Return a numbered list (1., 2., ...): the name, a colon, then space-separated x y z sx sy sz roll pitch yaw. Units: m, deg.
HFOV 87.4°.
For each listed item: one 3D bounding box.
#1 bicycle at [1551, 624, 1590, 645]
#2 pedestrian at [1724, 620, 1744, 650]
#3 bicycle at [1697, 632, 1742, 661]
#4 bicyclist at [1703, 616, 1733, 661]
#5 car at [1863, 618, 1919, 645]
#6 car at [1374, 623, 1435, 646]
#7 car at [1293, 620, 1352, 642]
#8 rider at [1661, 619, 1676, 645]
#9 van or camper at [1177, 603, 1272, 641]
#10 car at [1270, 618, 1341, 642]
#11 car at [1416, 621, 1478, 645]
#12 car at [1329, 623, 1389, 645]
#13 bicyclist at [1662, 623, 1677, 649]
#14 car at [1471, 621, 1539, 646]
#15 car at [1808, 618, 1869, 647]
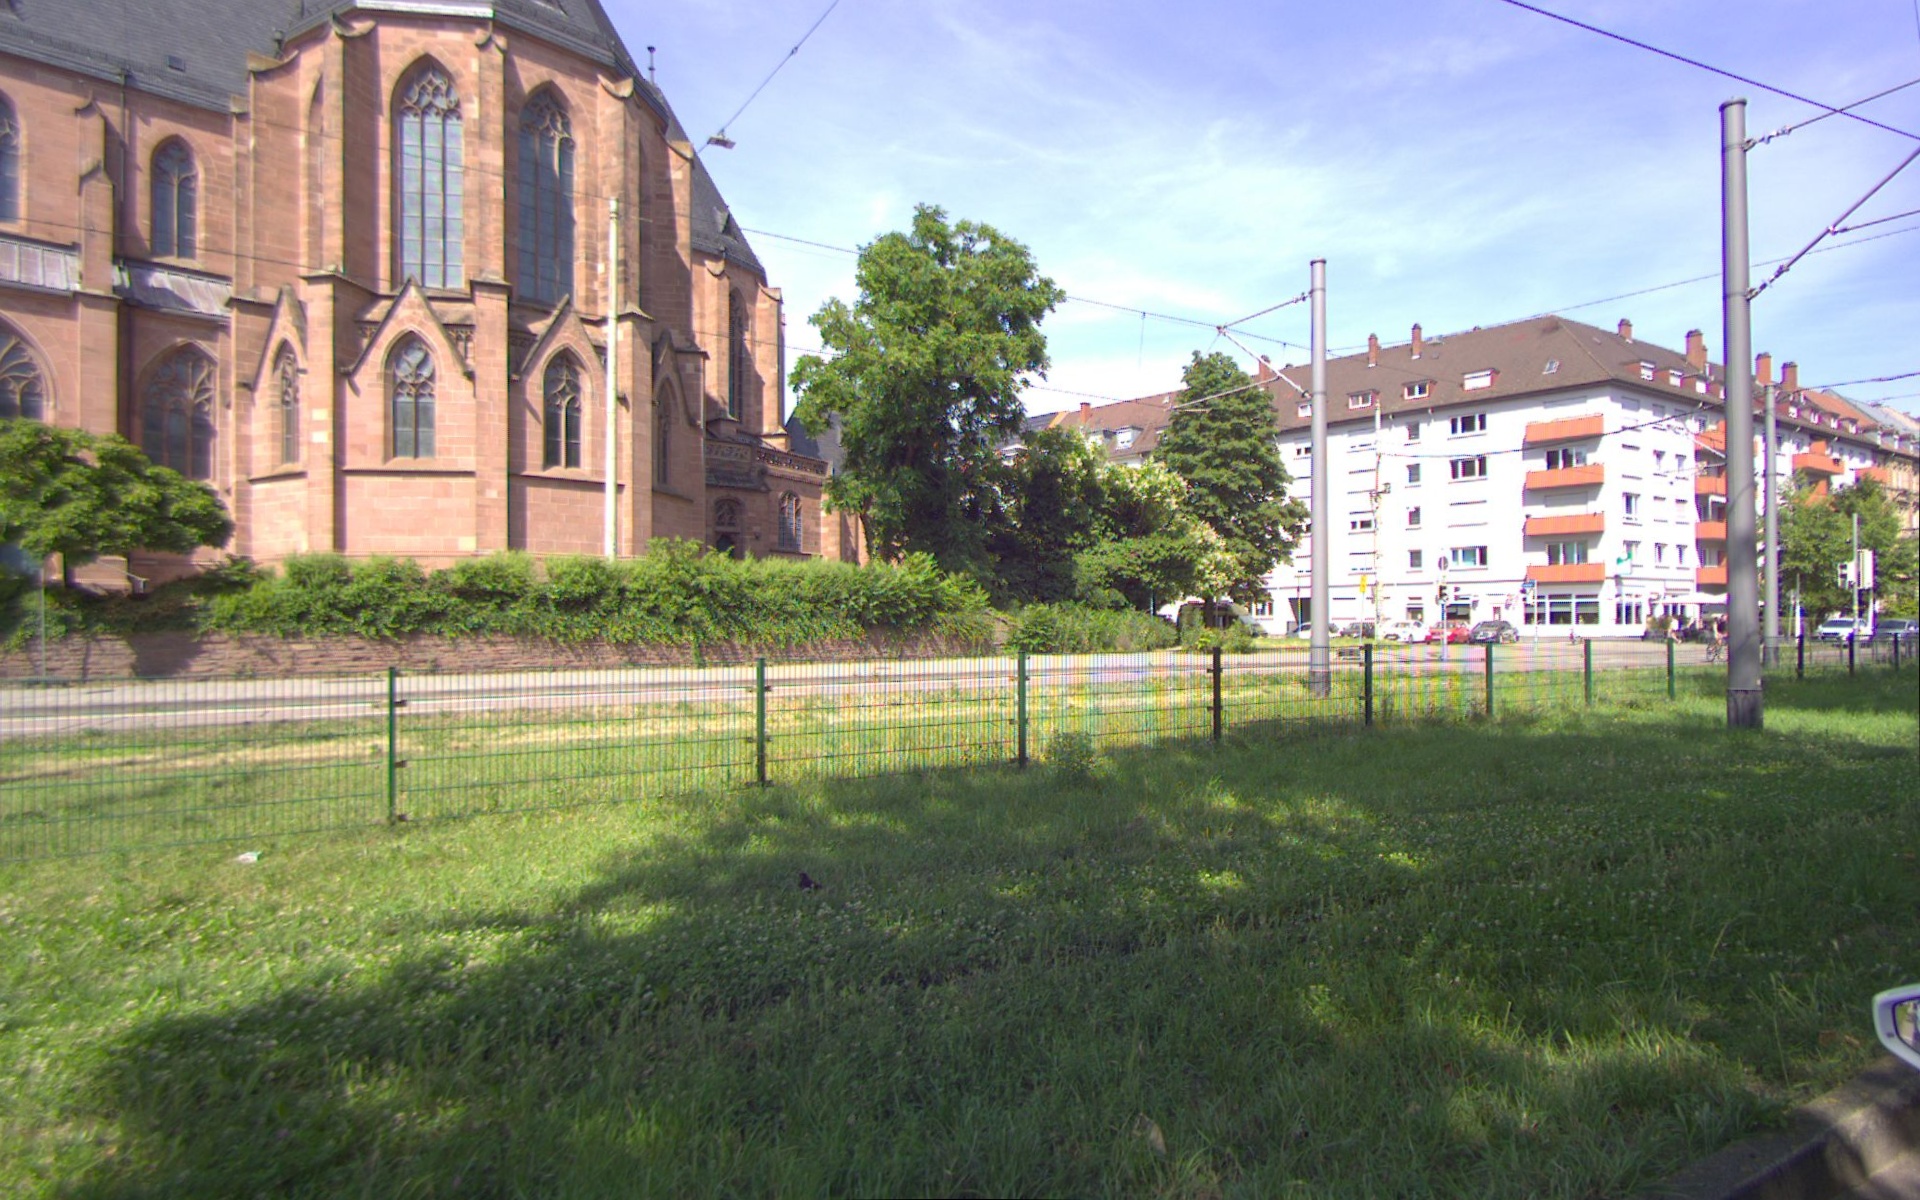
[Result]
1. bicycle: 35.235 1.979 57.934 2.781 1.152 0.905 1 -1 -35
2. pedestrian: 42.538 1.919 55.211 0.846 1.593 0.688 -1 -1 35
3. bicycle: 28.012 1.711 37.036 1.902 1.062 0.529 1 -3 -28
4. bicyclist: 27.875 1.413 36.952 0.686 1.644 0.620 0 -1 -27
5. car: 55.590 1.860 59.968 3.964 1.518 1.758 1 -3 -38
6. car: 28.568 2.191 64.506 4.132 1.425 1.916 1 -2 -40
7. car: 24.644 2.063 68.268 4.132 1.425 1.916 1 -2 -40
8. rider: 39.606 1.802 56.144 0.616 1.442 0.587 -1 -1 42
9. van or camper: 17.176 1.459 65.484 2.230 2.360 5.701 1 -2 -44
10. car: 21.043 1.835 61.299 3.700 1.425 1.824 -2 -2 42
11. car: 30.177 2.044 62.240 4.132 1.425 1.916 1 -2 -40
12. car: 26.234 2.220 66.001 4.132 1.425 1.916 1 -2 -40
13. bicyclist: 39.279 1.982 55.625 0.616 1.442 0.587 -1 -1 42
14. car: 32.419 1.967 59.714 4.601 1.394 1.820 1 -2 -38
15. car: 48.451 1.795 55.379 3.964 1.518 1.758 1 -3 -38
